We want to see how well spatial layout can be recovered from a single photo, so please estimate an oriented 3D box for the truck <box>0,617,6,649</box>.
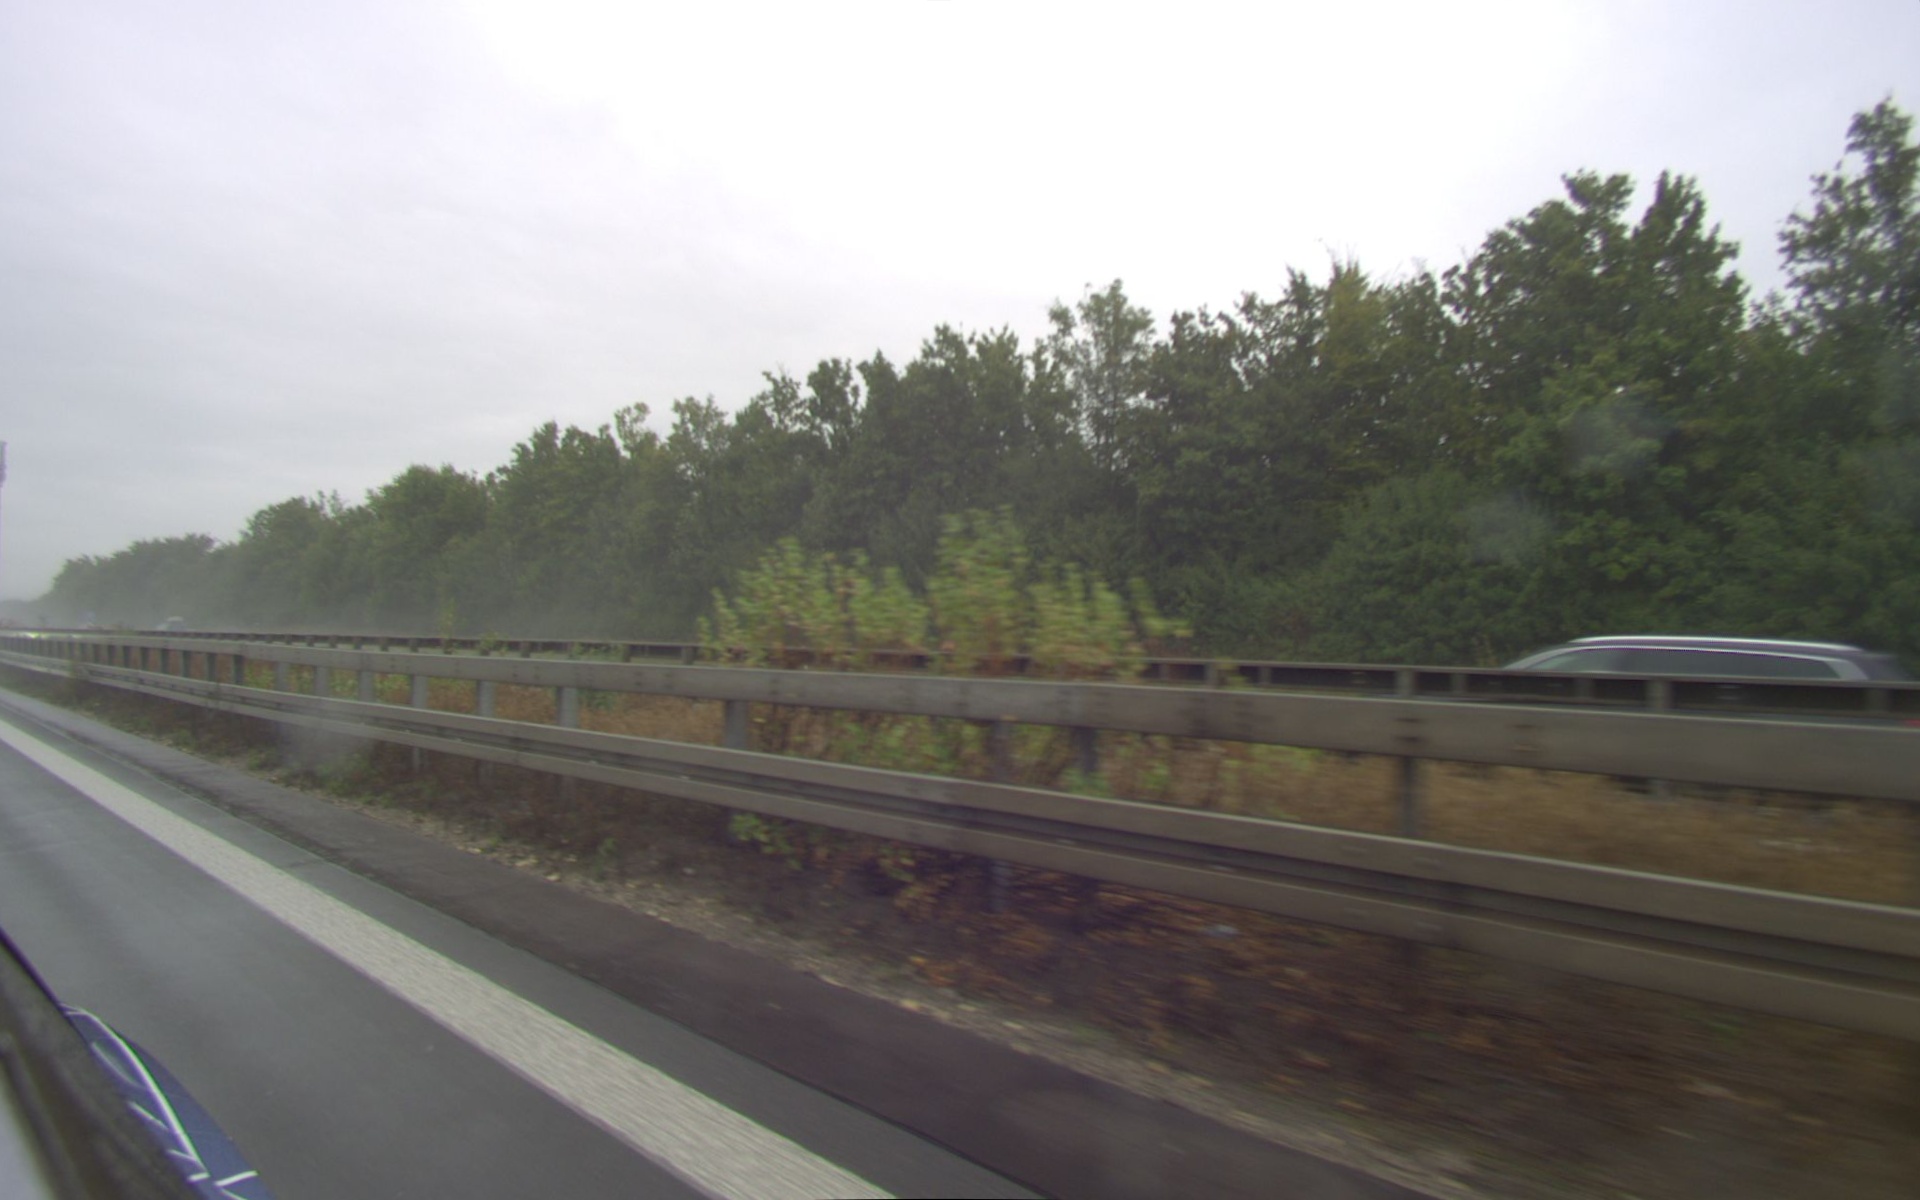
[{"bbox_3d":[-150.388,5.208,156.050,17.085,4.710,2.935,-3,-1,40],"label":"truck"}]
